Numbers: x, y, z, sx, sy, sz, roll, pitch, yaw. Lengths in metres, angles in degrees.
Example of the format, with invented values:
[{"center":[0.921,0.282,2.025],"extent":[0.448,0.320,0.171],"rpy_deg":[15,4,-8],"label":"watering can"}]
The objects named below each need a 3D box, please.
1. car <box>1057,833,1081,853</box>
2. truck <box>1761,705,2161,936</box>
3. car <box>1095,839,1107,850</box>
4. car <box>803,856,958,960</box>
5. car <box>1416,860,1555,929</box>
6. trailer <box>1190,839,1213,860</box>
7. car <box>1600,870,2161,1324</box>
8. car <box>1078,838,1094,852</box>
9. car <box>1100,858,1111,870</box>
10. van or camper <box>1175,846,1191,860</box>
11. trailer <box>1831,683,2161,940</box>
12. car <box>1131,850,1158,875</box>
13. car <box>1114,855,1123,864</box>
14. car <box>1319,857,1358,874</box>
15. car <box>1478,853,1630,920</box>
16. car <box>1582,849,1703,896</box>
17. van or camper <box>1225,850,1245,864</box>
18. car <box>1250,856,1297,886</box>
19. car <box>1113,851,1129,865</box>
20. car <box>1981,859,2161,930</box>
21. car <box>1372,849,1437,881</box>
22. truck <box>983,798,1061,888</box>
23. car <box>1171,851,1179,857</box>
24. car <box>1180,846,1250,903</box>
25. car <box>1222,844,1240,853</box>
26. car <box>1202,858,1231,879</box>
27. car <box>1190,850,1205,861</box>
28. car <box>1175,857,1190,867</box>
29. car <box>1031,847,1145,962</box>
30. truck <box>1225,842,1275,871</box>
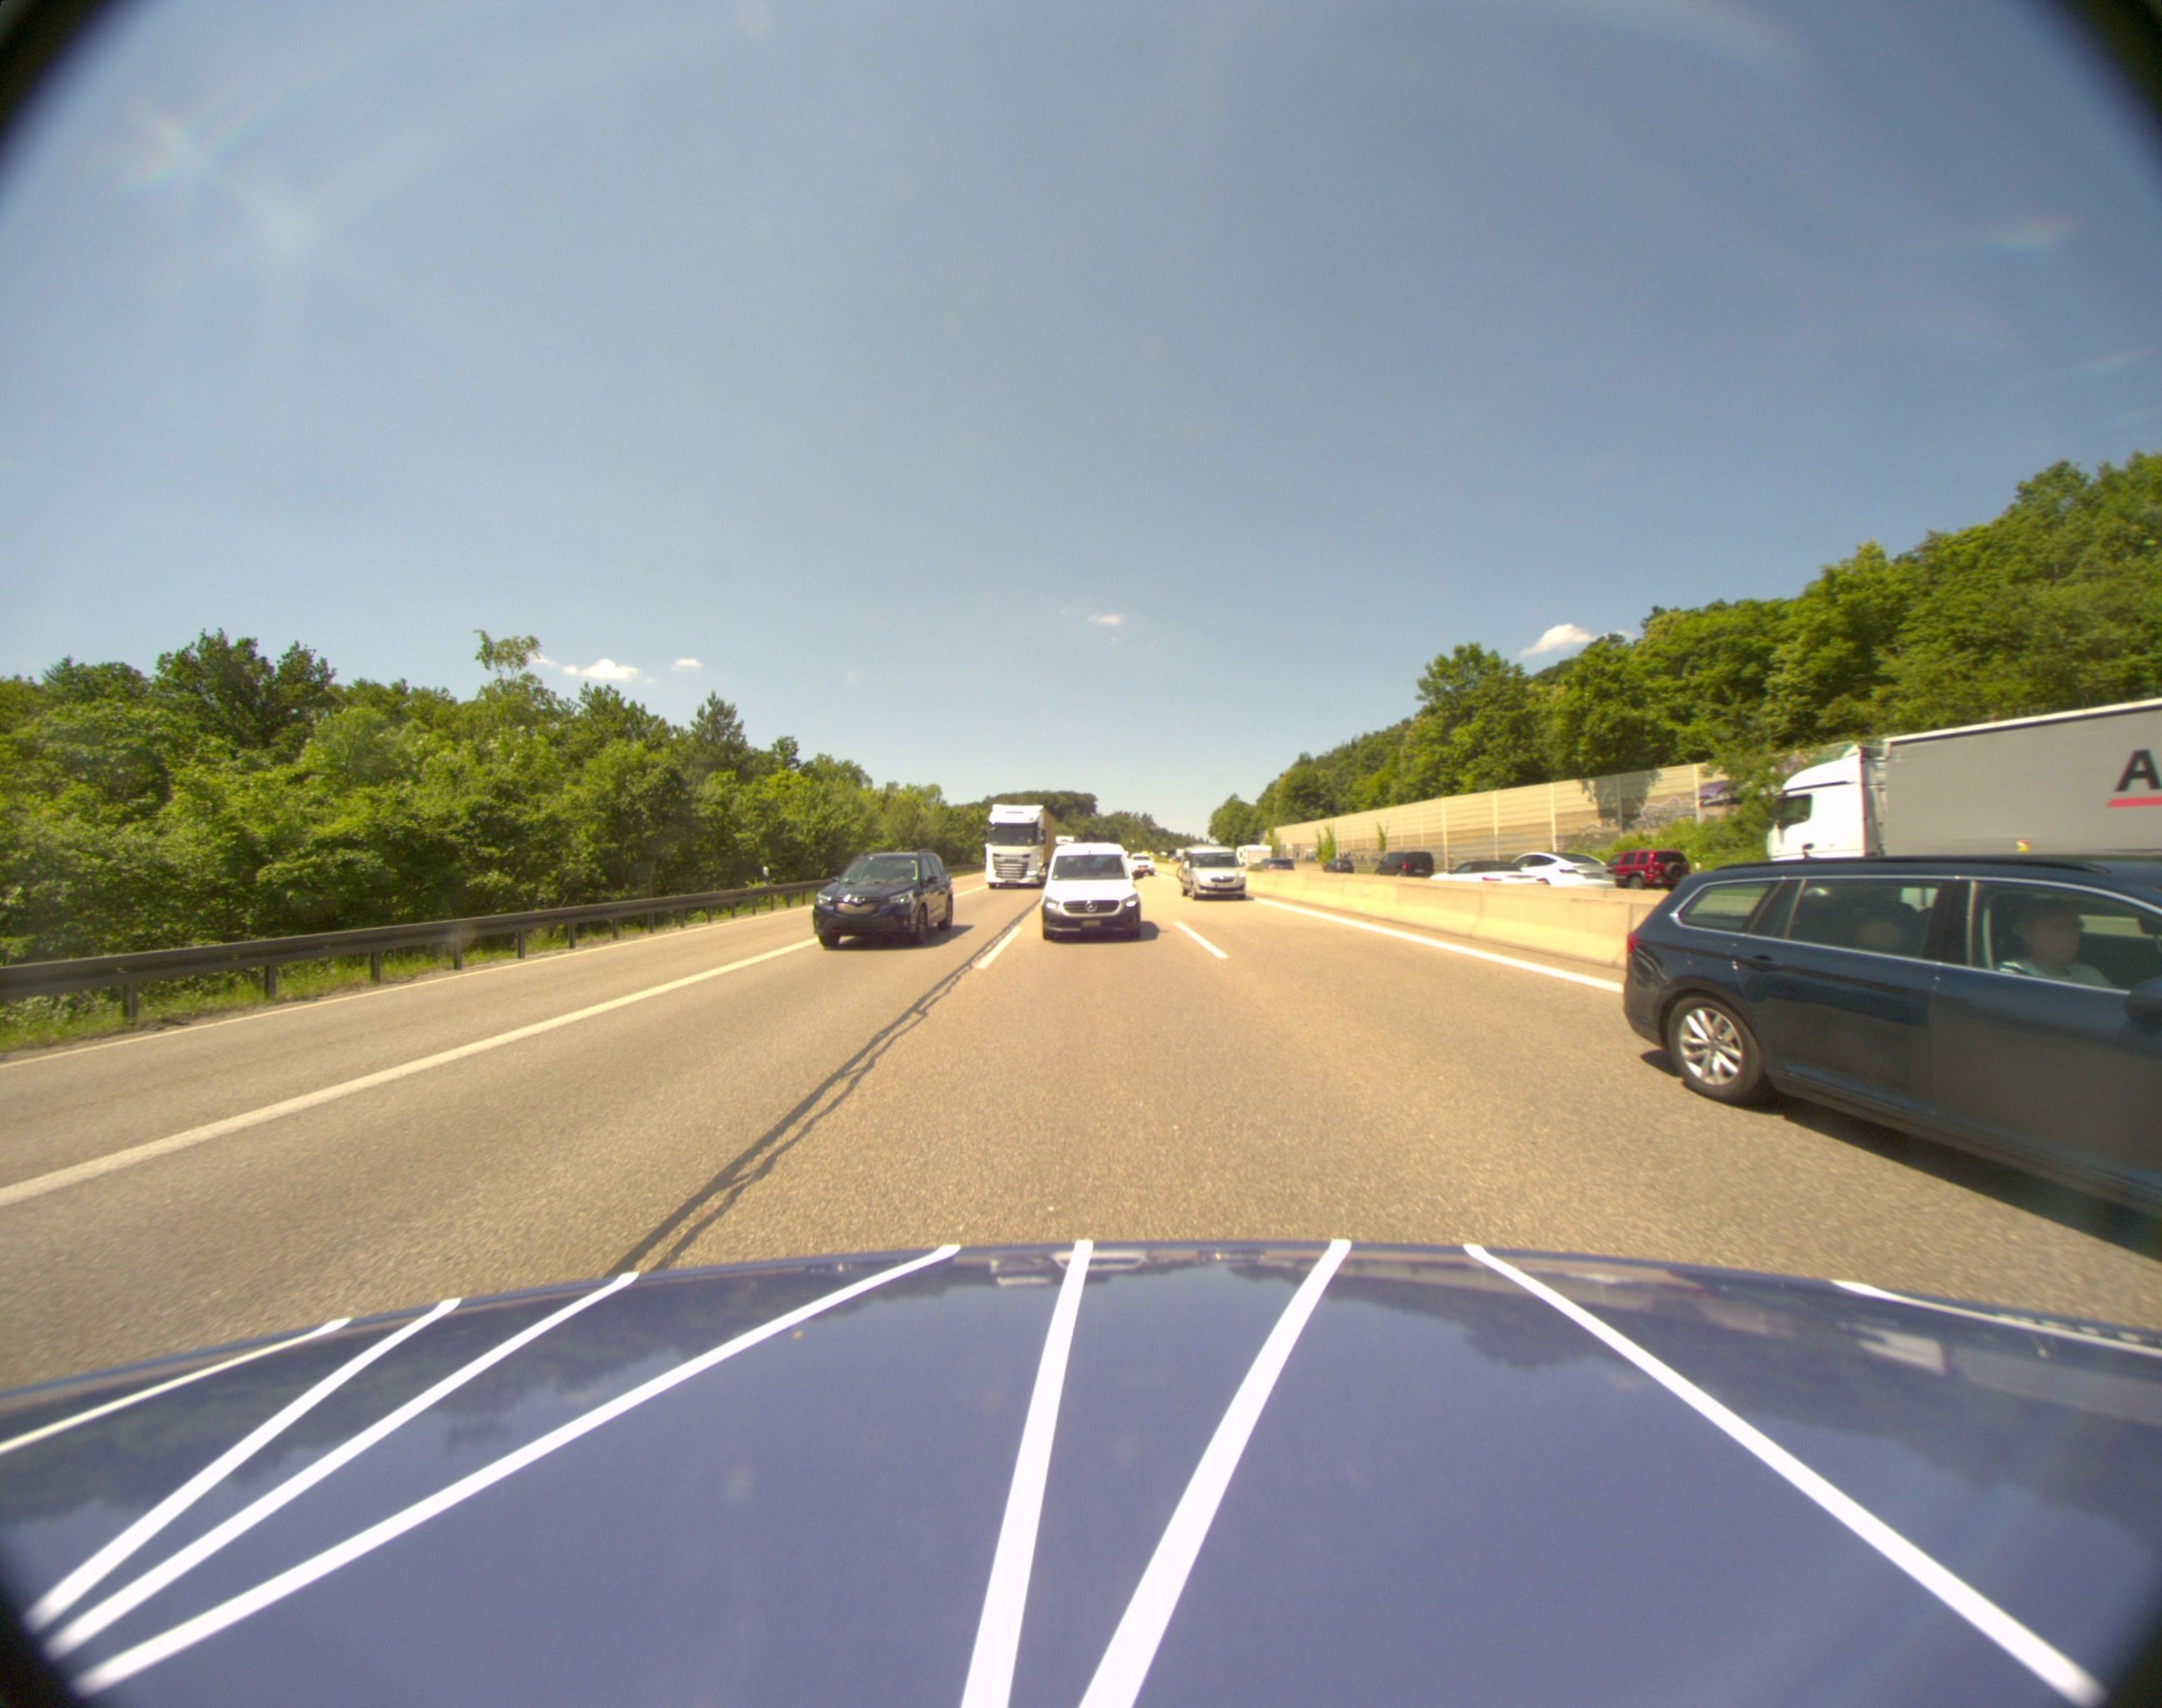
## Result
[{"center":[-1.515,-1.453,99.727],"extent":[2.721,2.534,5.941],"rpy_deg":[0,1,3],"label":"car"},{"center":[18.901,-0.610,16.713],"extent":[2.848,4.189,5.659],"rpy_deg":[-1,0,1],"label":"truck"},{"center":[4.818,-2.248,185.584],"extent":[2.721,2.534,5.941],"rpy_deg":[0,1,3],"label":"car"},{"center":[-3.684,0.909,14.747],"extent":[1.816,1.658,4.203],"rpy_deg":[0,1,1],"label":"car"},{"center":[11.766,1.109,22.465],"extent":[1.998,1.783,3.999],"rpy_deg":[0,1,1],"label":"car"},{"center":[23.936,-0.956,151.306],"extent":[2.819,3.886,13.827],"rpy_deg":[0,1,2],"label":"trailer"},{"center":[4.405,0.824,2.863],"extent":[1.737,1.419,4.730],"rpy_deg":[0,0,1],"label":"car"},{"center":[0.986,-1.759,142.276],"extent":[2.721,2.534,5.941],"rpy_deg":[0,1,3],"label":"car"},{"center":[4.366,1.792,136.931],"extent":[1.902,2.002,4.000],"rpy_deg":[0,0,2],"label":"car"},{"center":[20.673,-0.191,154.544],"extent":[2.275,2.720,6.805],"rpy_deg":[0,1,1],"label":"van or camper"},{"center":[18.824,-0.651,10.278],"extent":[2.842,4.141,14.736],"rpy_deg":[0,1,1],"label":"trailer"},{"center":[4.819,0.629,58.515],"extent":[1.998,1.827,4.001],"rpy_deg":[0,0,4],"label":"car"},{"center":[8.629,1.238,174.124],"extent":[1.998,2.002,4.001],"rpy_deg":[0,0,3],"label":"car"},{"center":[23.110,0.993,68.416],"extent":[1.952,1.427,4.693],"rpy_deg":[0,1,1],"label":"car"},{"center":[15.289,0.969,24.960],"extent":[1.998,1.938,4.748],"rpy_deg":[0,1,0],"label":"car"},{"center":[22.768,0.691,31.025],"extent":[1.680,1.741,4.376],"rpy_deg":[0,1,0],"label":"car"},{"center":[20.704,0.395,102.309],"extent":[2.081,1.965,3.705],"rpy_deg":[0,0,1],"label":"van or camper"},{"center":[11.841,1.024,46.968],"extent":[1.777,1.761,4.183],"rpy_deg":[0,0,-1],"label":"car"},{"center":[5.415,0.505,102.679],"extent":[1.998,1.783,4.000],"rpy_deg":[-1,0,2],"label":"car"},{"center":[22.406,0.819,15.933],"extent":[1.767,1.362,4.501],"rpy_deg":[0,0,1],"label":"car"},{"center":[19.217,0.627,45.353],"extent":[1.738,1.799,4.863],"rpy_deg":[0,0,-1],"label":"car"},{"center":[-2.915,-0.510,43.126],"extent":[2.789,4.144,16.268],"rpy_deg":[0,0,1],"label":"truck"},{"center":[28.790,-0.063,232.524],"extent":[1.926,1.856,5.304],"rpy_deg":[-1,0,2],"label":"car"},{"center":[4.586,0.645,26.467],"extent":[1.780,1.833,4.000],"rpy_deg":[0,0,1],"label":"car"},{"center":[21.261,-0.783,107.800],"extent":[1.805,1.339,4.723],"rpy_deg":[0,0,1],"label":"car"},{"center":[12.452,1.285,70.030],"extent":[1.952,1.791,4.693],"rpy_deg":[0,1,1],"label":"car"},{"center":[18.184,0.200,118.811],"extent":[1.697,1.673,4.196],"rpy_deg":[-1,0,1],"label":"car"},{"center":[13.659,1.079,102.388],"extent":[1.618,1.368,4.270],"rpy_deg":[0,0,1],"label":"car"},{"center":[0.191,0.765,13.948],"extent":[1.729,1.760,4.313],"rpy_deg":[-1,1,2],"label":"car"},{"center":[16.604,0.145,75.590],"extent":[2.534,2.673,11.627],"rpy_deg":[0,1,1],"label":"truck"}]
